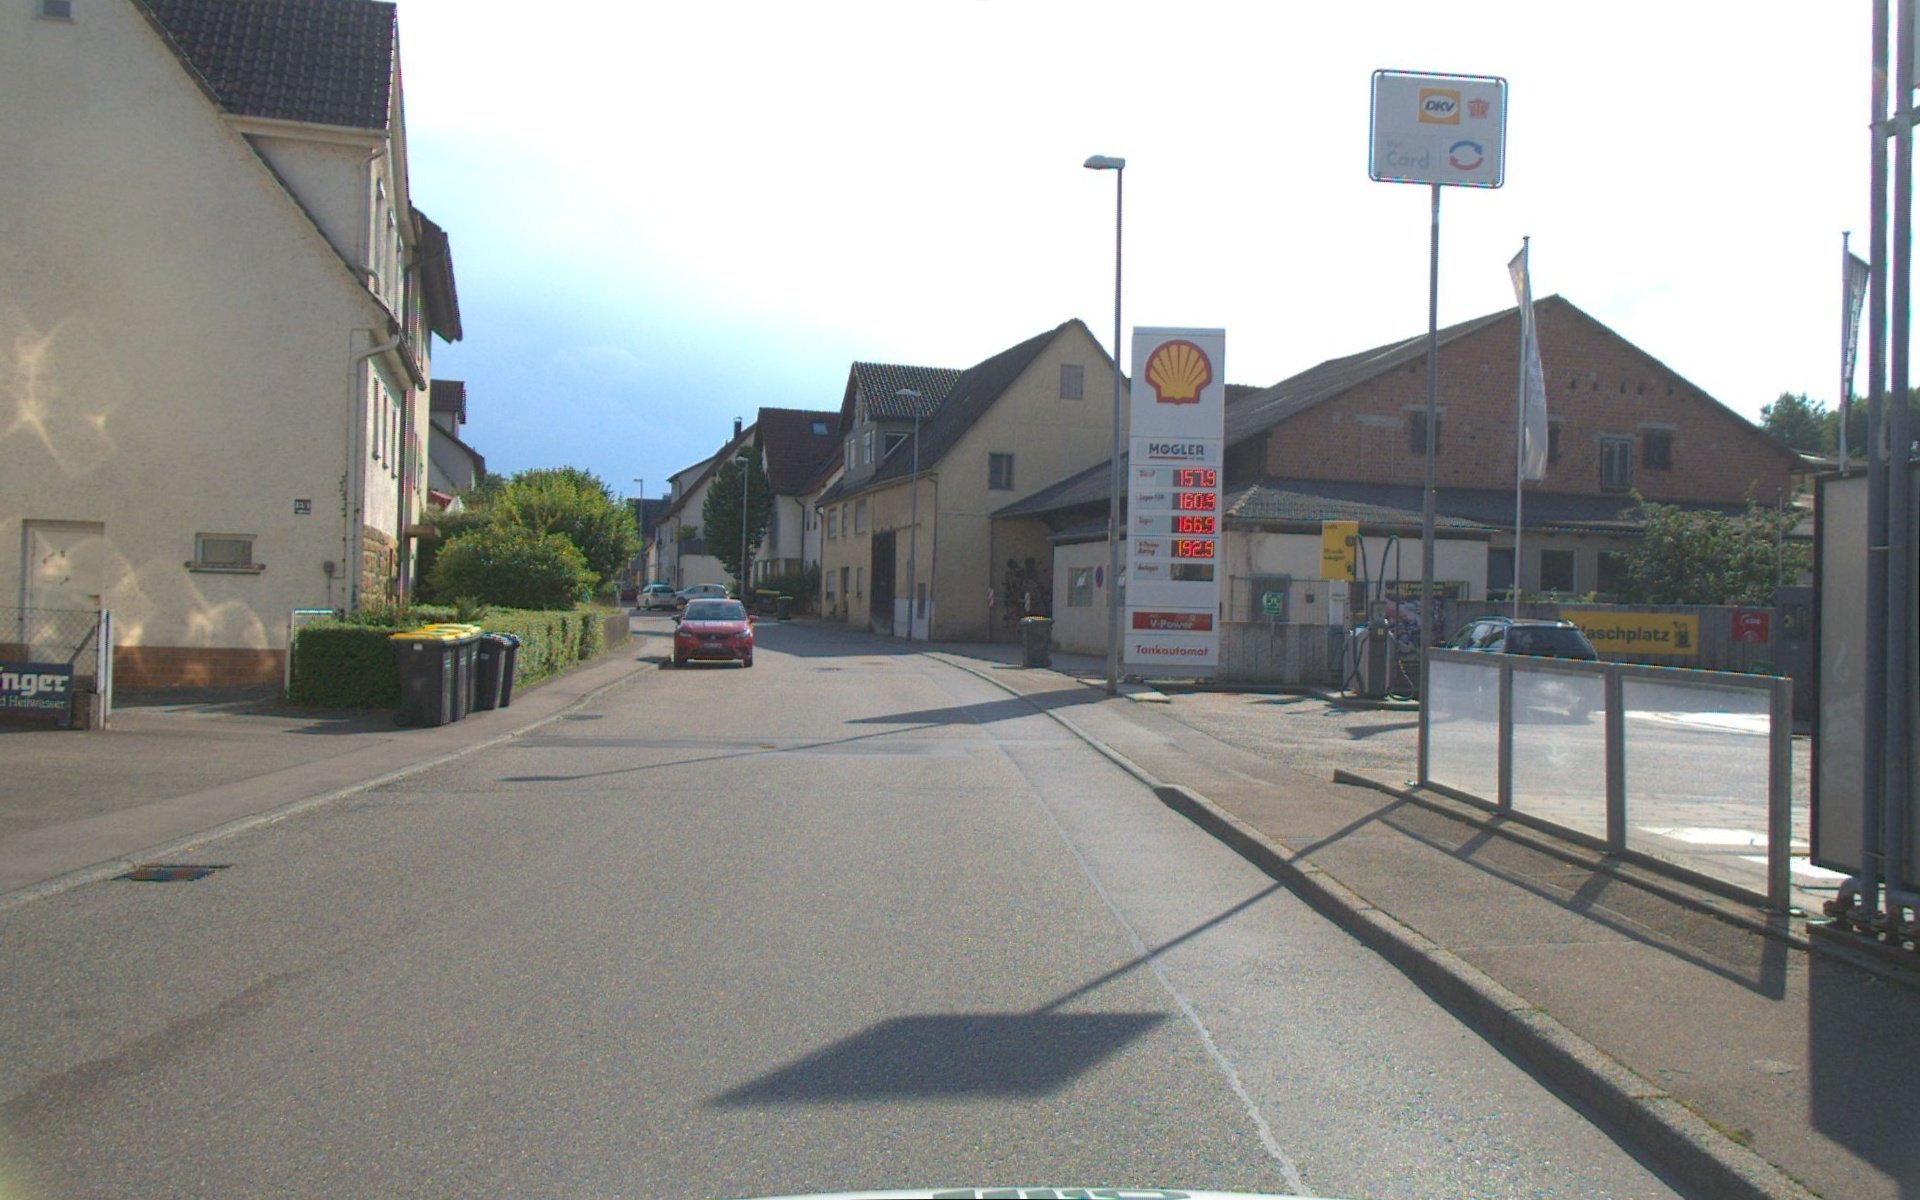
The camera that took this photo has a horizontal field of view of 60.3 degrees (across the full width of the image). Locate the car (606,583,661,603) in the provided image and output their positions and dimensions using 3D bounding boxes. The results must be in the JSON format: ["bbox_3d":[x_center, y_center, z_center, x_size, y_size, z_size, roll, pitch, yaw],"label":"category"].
[{"bbox_3d":[-24.589,-0.509,124.430,3.923,1.376,1.703,1,0,-17],"label":"car"}]

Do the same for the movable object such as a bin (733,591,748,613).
[{"bbox_3d":[-11.123,0.120,83.829,0.642,1.092,0.511,1,0,-17],"label":"movable object such as a bin"}]

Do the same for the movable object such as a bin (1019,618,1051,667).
[{"bbox_3d":[1.699,0.964,37.458,0.640,1.092,0.512,1,0,-4],"label":"movable object such as a bin"}]

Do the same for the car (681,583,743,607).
[{"bbox_3d":[-15.897,-0.319,105.965,3.914,1.376,1.707,1,0,-10],"label":"car"}]

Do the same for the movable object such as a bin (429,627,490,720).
[{"bbox_3d":[-6.298,0.919,20.832,0.576,1.141,0.617,0,0,-2],"label":"movable object such as a bin"}]

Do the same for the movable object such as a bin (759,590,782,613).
[{"bbox_3d":[-9.827,0.066,85.747,1.140,1.189,0.653,1,0,-13],"label":"movable object such as a bin"}]

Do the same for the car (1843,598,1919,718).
[{"bbox_3d":[15.685,0.917,26.173,1.545,1.823,3.633,1,1,2],"label":"car"}]

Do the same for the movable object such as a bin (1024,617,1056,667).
[{"bbox_3d":[1.782,0.943,36.923,0.640,1.092,0.512,1,0,-4],"label":"movable object such as a bin"}]

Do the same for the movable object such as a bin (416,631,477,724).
[{"bbox_3d":[-6.278,0.939,20.234,0.576,1.103,0.529,0,0,-2],"label":"movable object such as a bin"}]

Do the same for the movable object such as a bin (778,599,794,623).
[{"bbox_3d":[-7.958,0.502,75.695,0.642,1.092,0.511,1,0,-17],"label":"movable object such as a bin"}]

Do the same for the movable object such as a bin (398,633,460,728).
[{"bbox_3d":[-6.308,0.948,19.662,0.576,1.103,0.508,0,0,-2],"label":"movable object such as a bin"}]

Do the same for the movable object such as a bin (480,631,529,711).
[{"bbox_3d":[-6.051,0.939,21.984,0.521,1.040,0.457,0,0,-2],"label":"movable object such as a bin"}]

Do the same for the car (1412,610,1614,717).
[{"bbox_3d":[8.616,0.932,26.158,1.546,1.452,4.379,2,0,-2],"label":"car"}]

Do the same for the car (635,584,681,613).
[{"bbox_3d":[-17.565,-0.091,95.998,1.683,1.606,3.969,1,0,-25],"label":"car"}]

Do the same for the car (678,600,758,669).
[{"bbox_3d":[-5.396,0.737,36.851,1.677,1.460,3.772,0,0,-9],"label":"car"}]

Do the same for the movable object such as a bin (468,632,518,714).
[{"bbox_3d":[-6.072,0.943,21.498,0.521,1.040,0.457,0,0,-2],"label":"movable object such as a bin"}]
